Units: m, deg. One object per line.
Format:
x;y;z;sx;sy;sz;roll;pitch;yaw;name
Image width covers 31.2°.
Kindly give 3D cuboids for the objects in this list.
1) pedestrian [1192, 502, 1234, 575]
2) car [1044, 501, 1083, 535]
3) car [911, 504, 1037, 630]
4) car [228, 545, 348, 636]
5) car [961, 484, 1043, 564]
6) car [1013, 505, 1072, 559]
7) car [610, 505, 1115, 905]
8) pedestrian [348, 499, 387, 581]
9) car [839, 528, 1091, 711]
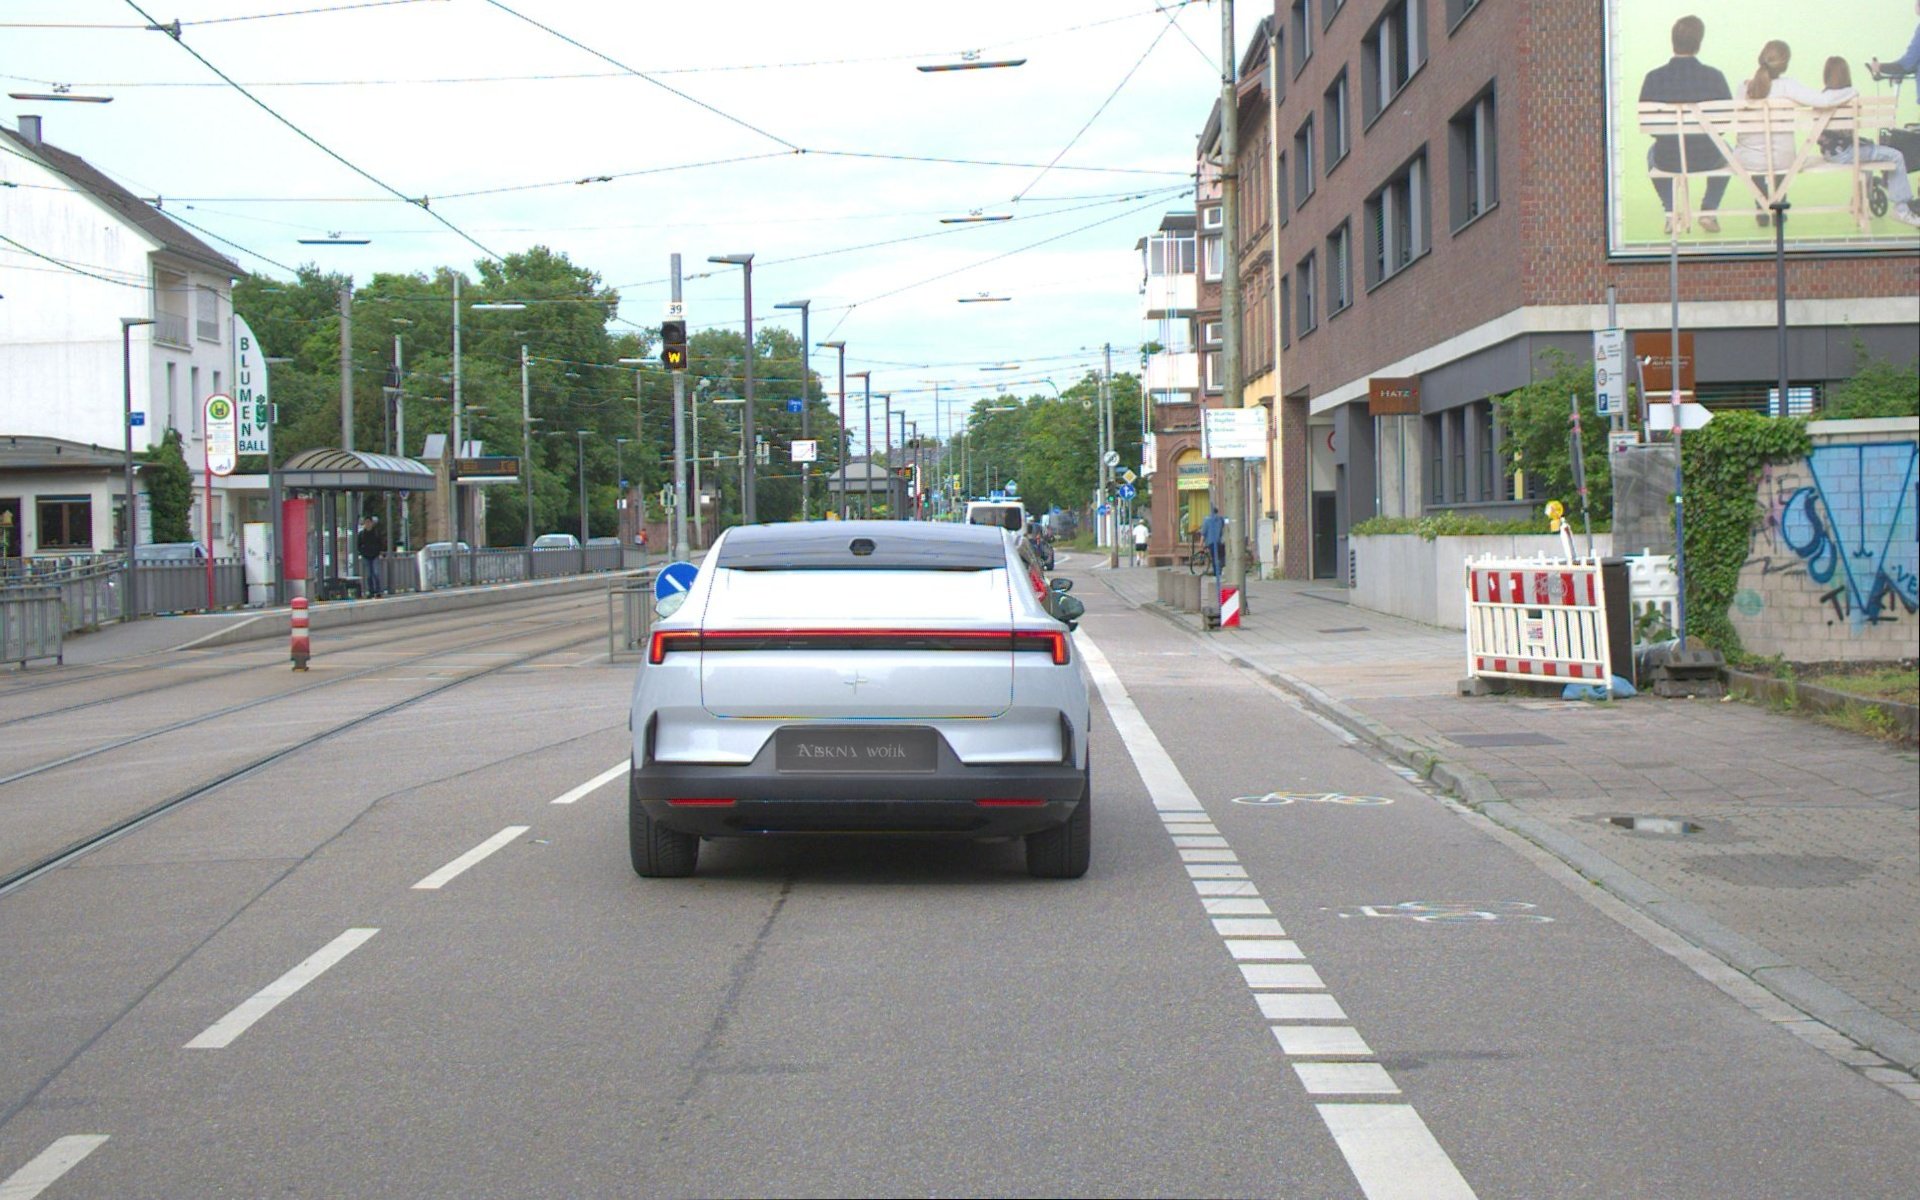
6.653;-1.620;90.394;0.961;1.843;0.975;-3;2;7;pedestrian
7.591;-6.021;253.140;2.807;2.496;5.722;0;1;1;car
0.227;-0.464;47.627;1.681;1.681;3.824;0;1;1;car
-15.615;-0.251;80.090;1.884;1.982;4.525;-2;1;-1;car
1.254;-2.316;105.339;2.226;2.394;5.124;0;1;-2;car
3.084;-2.557;129.536;1.993;2.007;4.000;0;1;-2;car
-0.502;0.392;15.615;1.999;1.575;4.001;0;1;-3;car
-12.068;-1.222;70.006;0.615;1.659;0.697;0;1;5;pedestrian
0.031;0.117;29.671;1.993;1.415;4.000;-1;1;0;car
